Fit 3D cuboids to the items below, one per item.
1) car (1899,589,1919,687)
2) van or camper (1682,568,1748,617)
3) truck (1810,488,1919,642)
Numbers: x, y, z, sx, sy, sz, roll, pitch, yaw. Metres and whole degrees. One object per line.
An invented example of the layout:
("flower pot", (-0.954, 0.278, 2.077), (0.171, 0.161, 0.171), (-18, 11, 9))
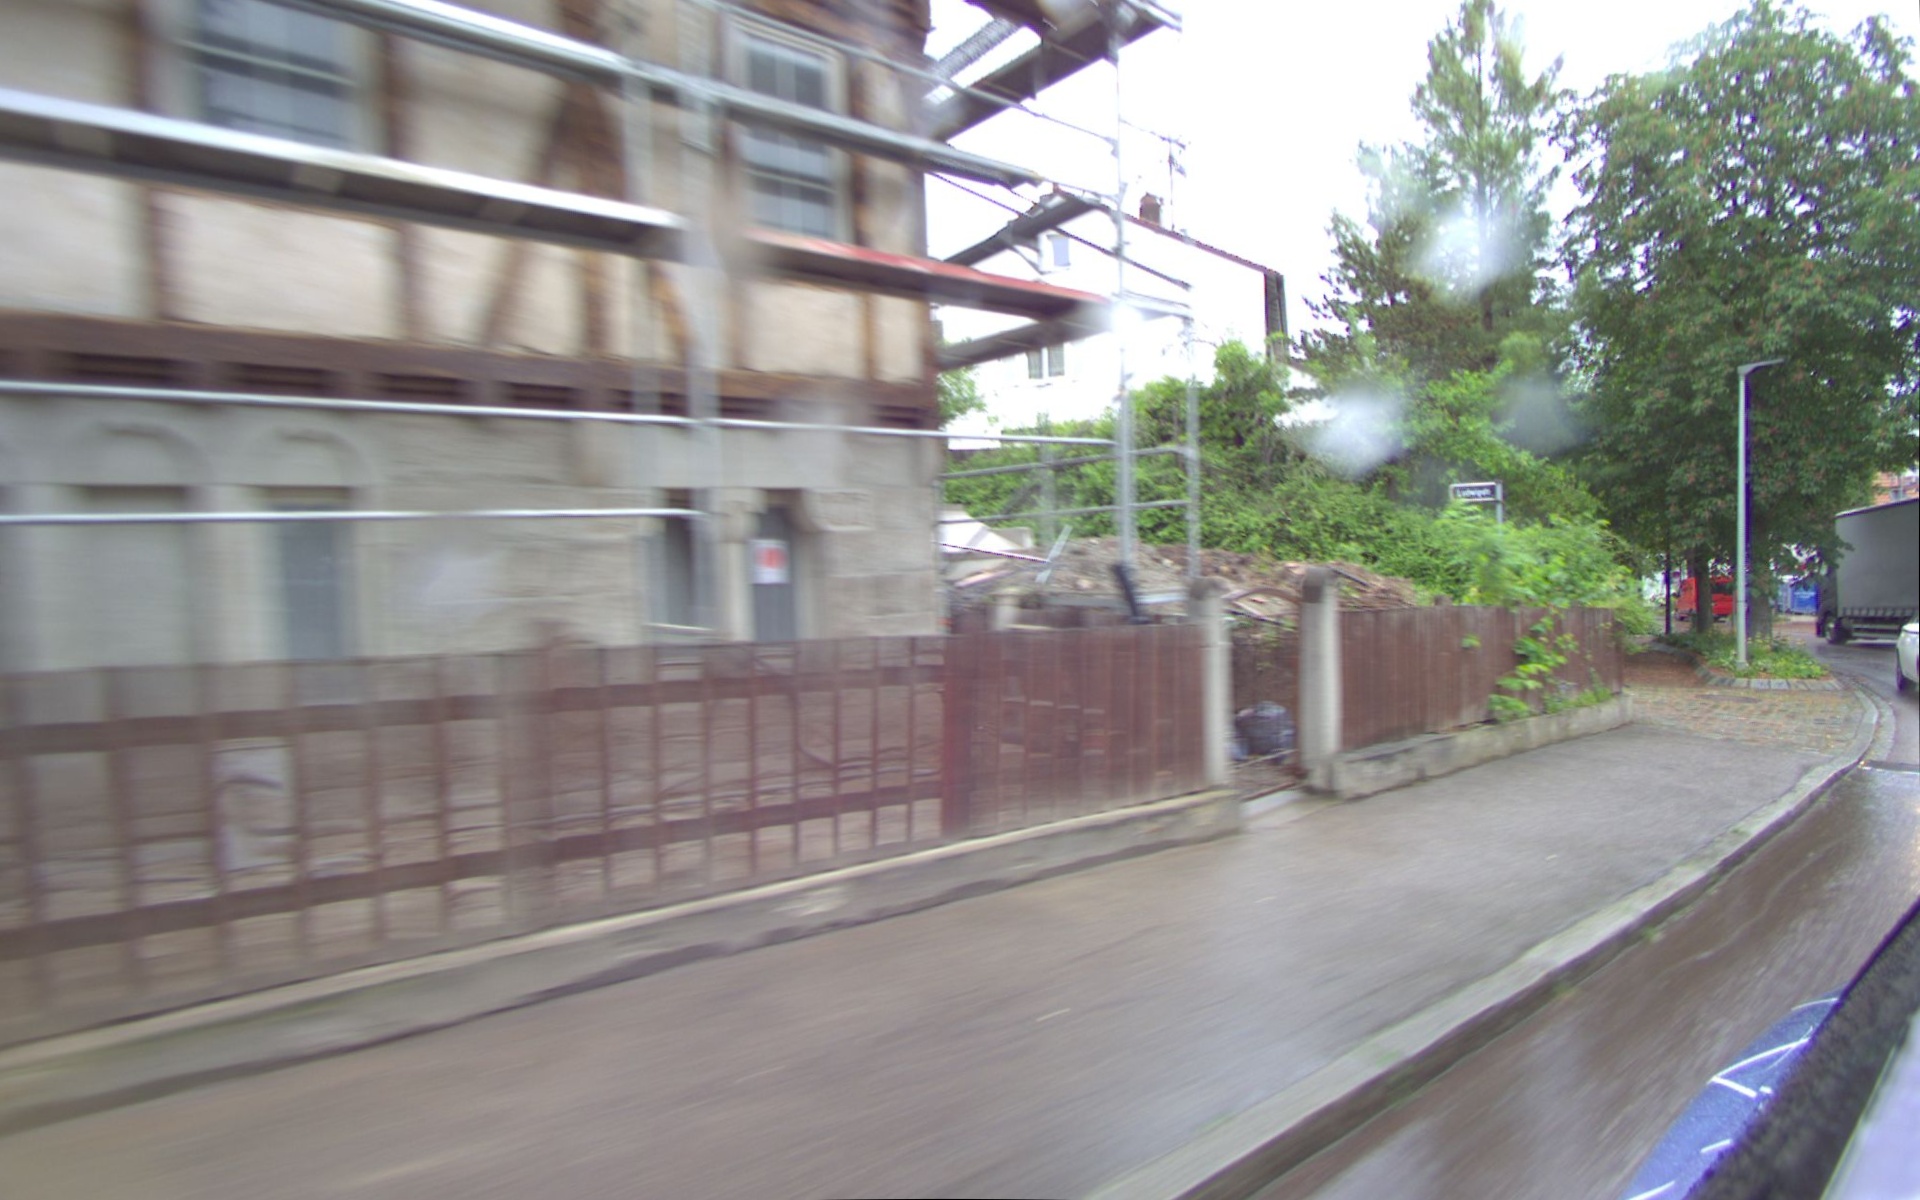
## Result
("car", (15.305, 0.566, 14.858), (1.850, 1.453, 3.962), (-2, 0, 38))
("van or camper", (41.729, -0.434, 56.027), (1.979, 2.565, 4.704), (0, 1, 25))
("truck", (27.160, -0.933, 27.873), (2.825, 4.018, 10.348), (0, 0, 23))
